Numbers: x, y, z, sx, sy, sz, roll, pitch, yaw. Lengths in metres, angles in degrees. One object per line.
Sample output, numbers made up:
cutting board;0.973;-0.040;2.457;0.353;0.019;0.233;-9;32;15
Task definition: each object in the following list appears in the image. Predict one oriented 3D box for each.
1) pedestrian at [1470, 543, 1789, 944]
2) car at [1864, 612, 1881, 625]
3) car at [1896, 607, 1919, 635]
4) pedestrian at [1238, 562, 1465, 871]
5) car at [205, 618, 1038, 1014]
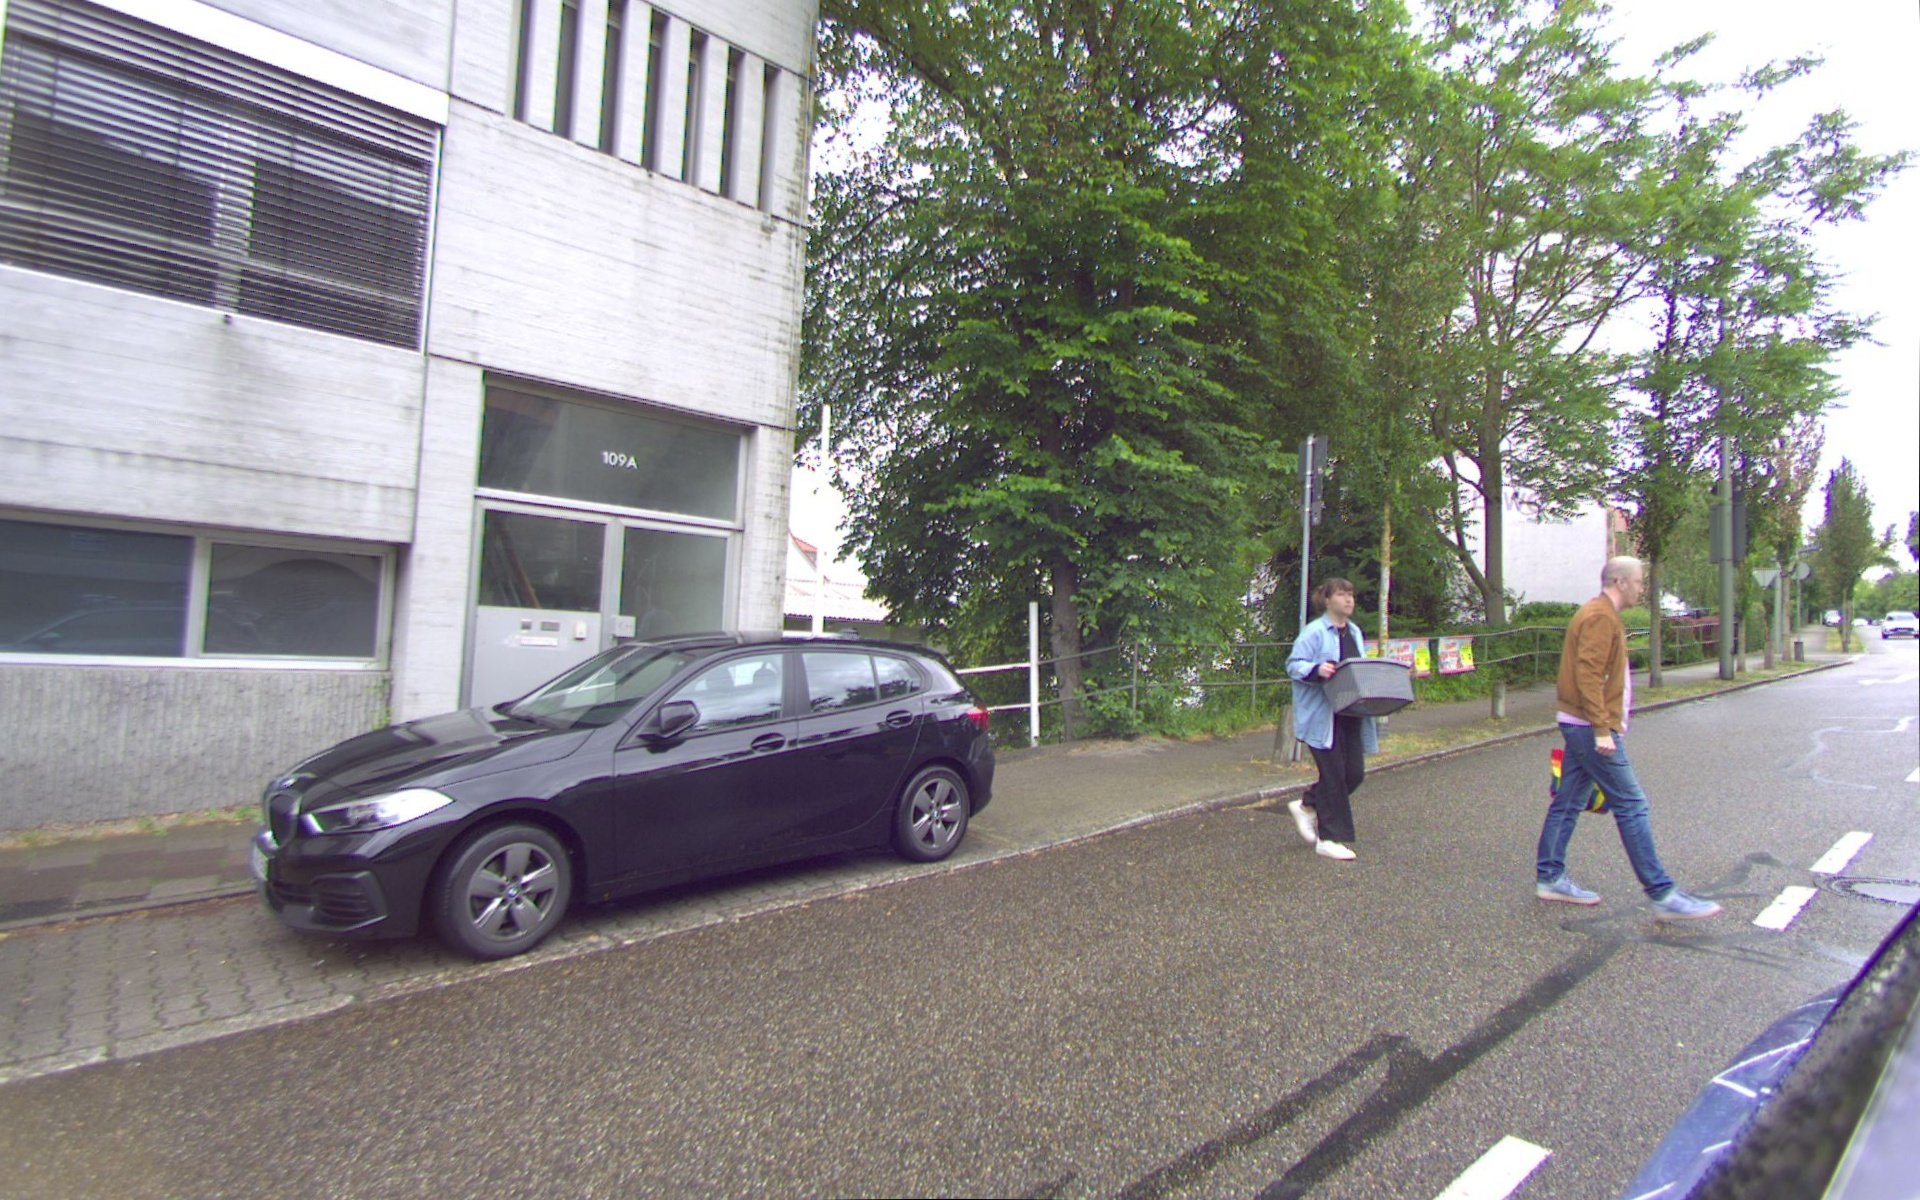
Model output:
pedestrian;3.388;0.631;5.200;0.807;1.804;1.075;0;1;-24
car;144.224;2.917;160.008;1.887;1.741;4.171;2;2;43
car;61.058;1.326;64.437;4.278;1.638;1.831;-1;0;-43
pedestrian;2.510;0.689;6.599;0.807;1.805;1.075;-1;-2;-22
car;-1.741;0.868;6.126;4.368;1.453;1.996;0;-1;-43
